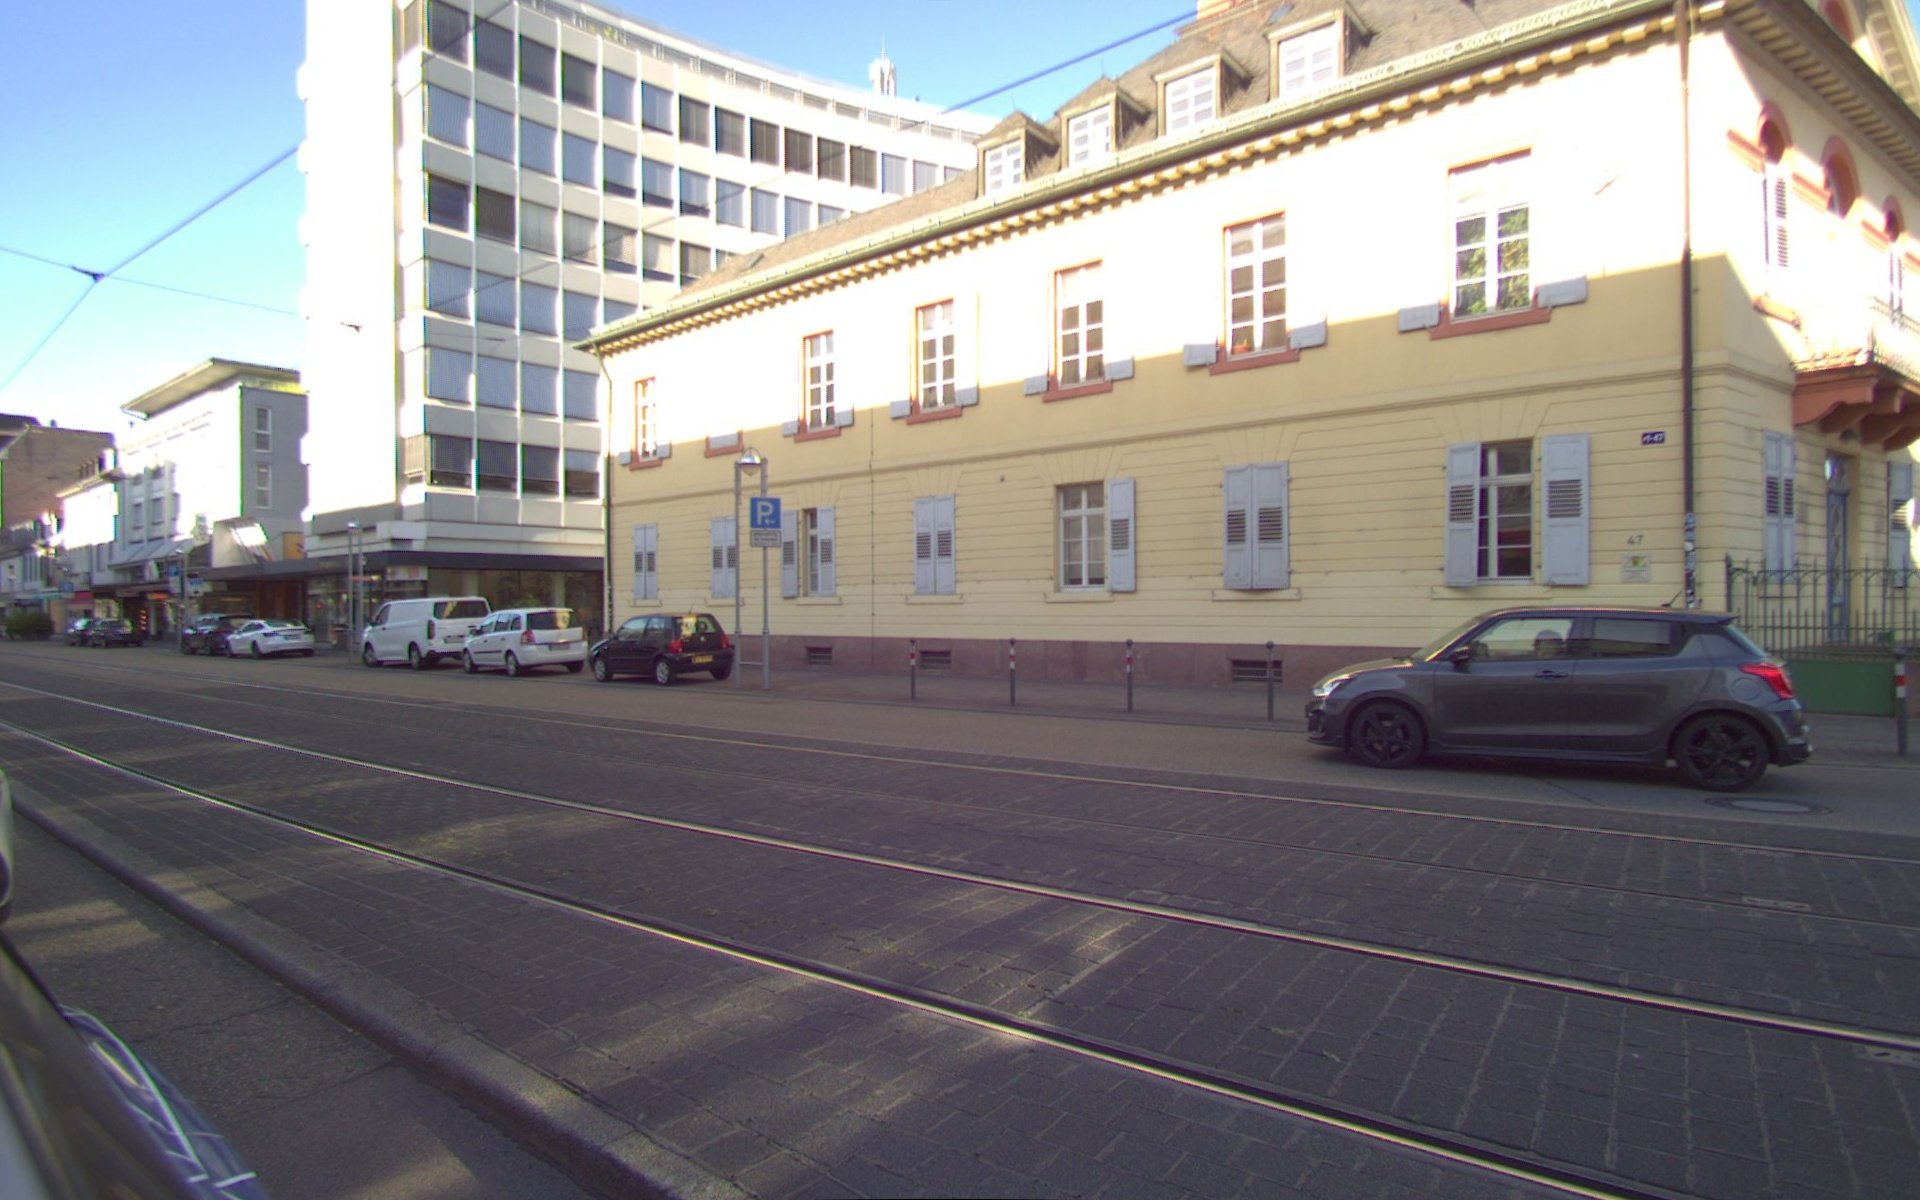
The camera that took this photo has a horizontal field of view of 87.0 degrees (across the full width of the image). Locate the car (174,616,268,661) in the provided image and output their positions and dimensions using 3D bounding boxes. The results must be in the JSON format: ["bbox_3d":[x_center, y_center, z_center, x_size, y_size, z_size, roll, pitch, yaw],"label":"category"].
[{"bbox_3d":[-29.909,1.518,40.933,4.275,1.654,1.908,-1,1,37],"label":"car"}]

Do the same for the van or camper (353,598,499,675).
[{"bbox_3d":[-15.356,0.993,29.003,4.792,1.988,1.936,-1,1,39],"label":"van or camper"}]

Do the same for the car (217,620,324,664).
[{"bbox_3d":[-25.574,1.521,37.483,4.285,1.463,1.909,-1,1,36],"label":"car"}]

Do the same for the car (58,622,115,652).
[{"bbox_3d":[-48.015,2.006,55.632,3.830,1.531,1.764,-1,0,40],"label":"car"}]

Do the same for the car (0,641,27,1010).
[{"bbox_3d":[-6.178,0.905,4.900,4.771,1.450,1.845,-1,-2,40],"label":"car"}]

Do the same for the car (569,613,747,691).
[{"bbox_3d":[-6.525,1.045,21.670,3.958,1.450,1.759,-1,1,40],"label":"car"}]

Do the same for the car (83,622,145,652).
[{"bbox_3d":[-43.754,1.884,52.333,3.593,1.427,1.764,-1,0,38],"label":"car"}]

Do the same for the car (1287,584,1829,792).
[{"bbox_3d":[5.125,0.695,9.161,3.845,1.521,1.764,-1,-2,30],"label":"car"}]

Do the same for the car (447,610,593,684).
[{"bbox_3d":[-11.051,1.110,25.307,4.175,1.632,1.758,-1,1,42],"label":"car"}]
